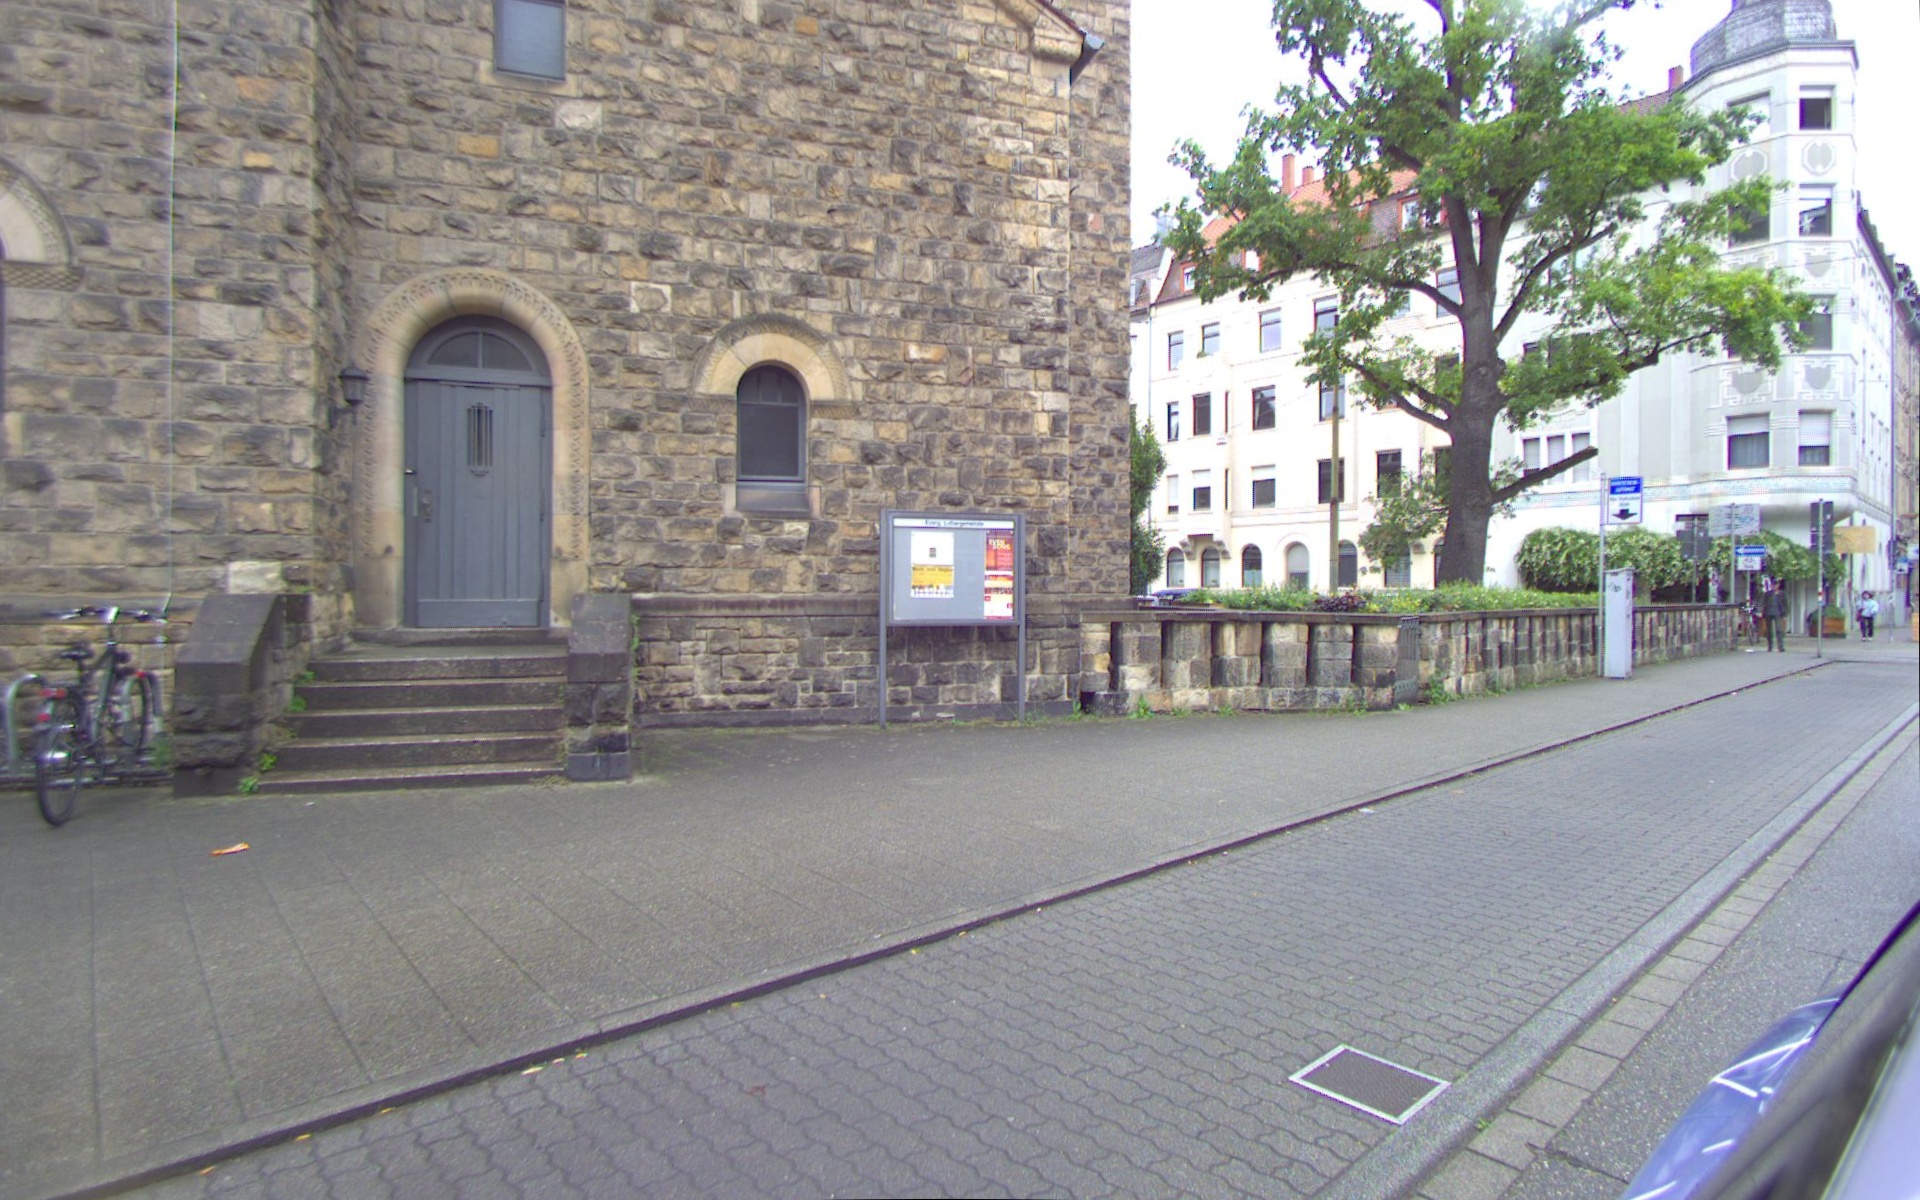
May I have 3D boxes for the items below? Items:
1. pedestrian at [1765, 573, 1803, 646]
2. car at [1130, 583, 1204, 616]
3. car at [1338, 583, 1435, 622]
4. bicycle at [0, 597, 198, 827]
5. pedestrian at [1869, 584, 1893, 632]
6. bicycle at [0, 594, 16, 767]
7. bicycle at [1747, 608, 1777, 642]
[{"bbox_3d":[21.731,0.235,26.678,0.681,1.896,0.645,0,1,-42],"label":"pedestrian"},{"bbox_3d":[9.749,-0.047,47.740,1.421,1.427,3.271,0,1,-38],"label":"car"},{"bbox_3d":[16.864,0.061,40.100,1.421,1.427,3.271,0,1,-38],"label":"car"},{"bbox_3d":[-5.109,0.563,6.070,0.502,1.067,1.994,0,3,-27],"label":"bicycle"},{"bbox_3d":[28.953,0.239,31.819,0.385,1.479,0.481,0,1,-42],"label":"pedestrian"},{"bbox_3d":[-6.273,0.567,5.967,0.550,1.125,1.717,0,3,-27],"label":"bicycle"},{"bbox_3d":[24.487,0.736,30.882,1.990,0.904,0.390,-3,3,-42],"label":"bicycle"}]
